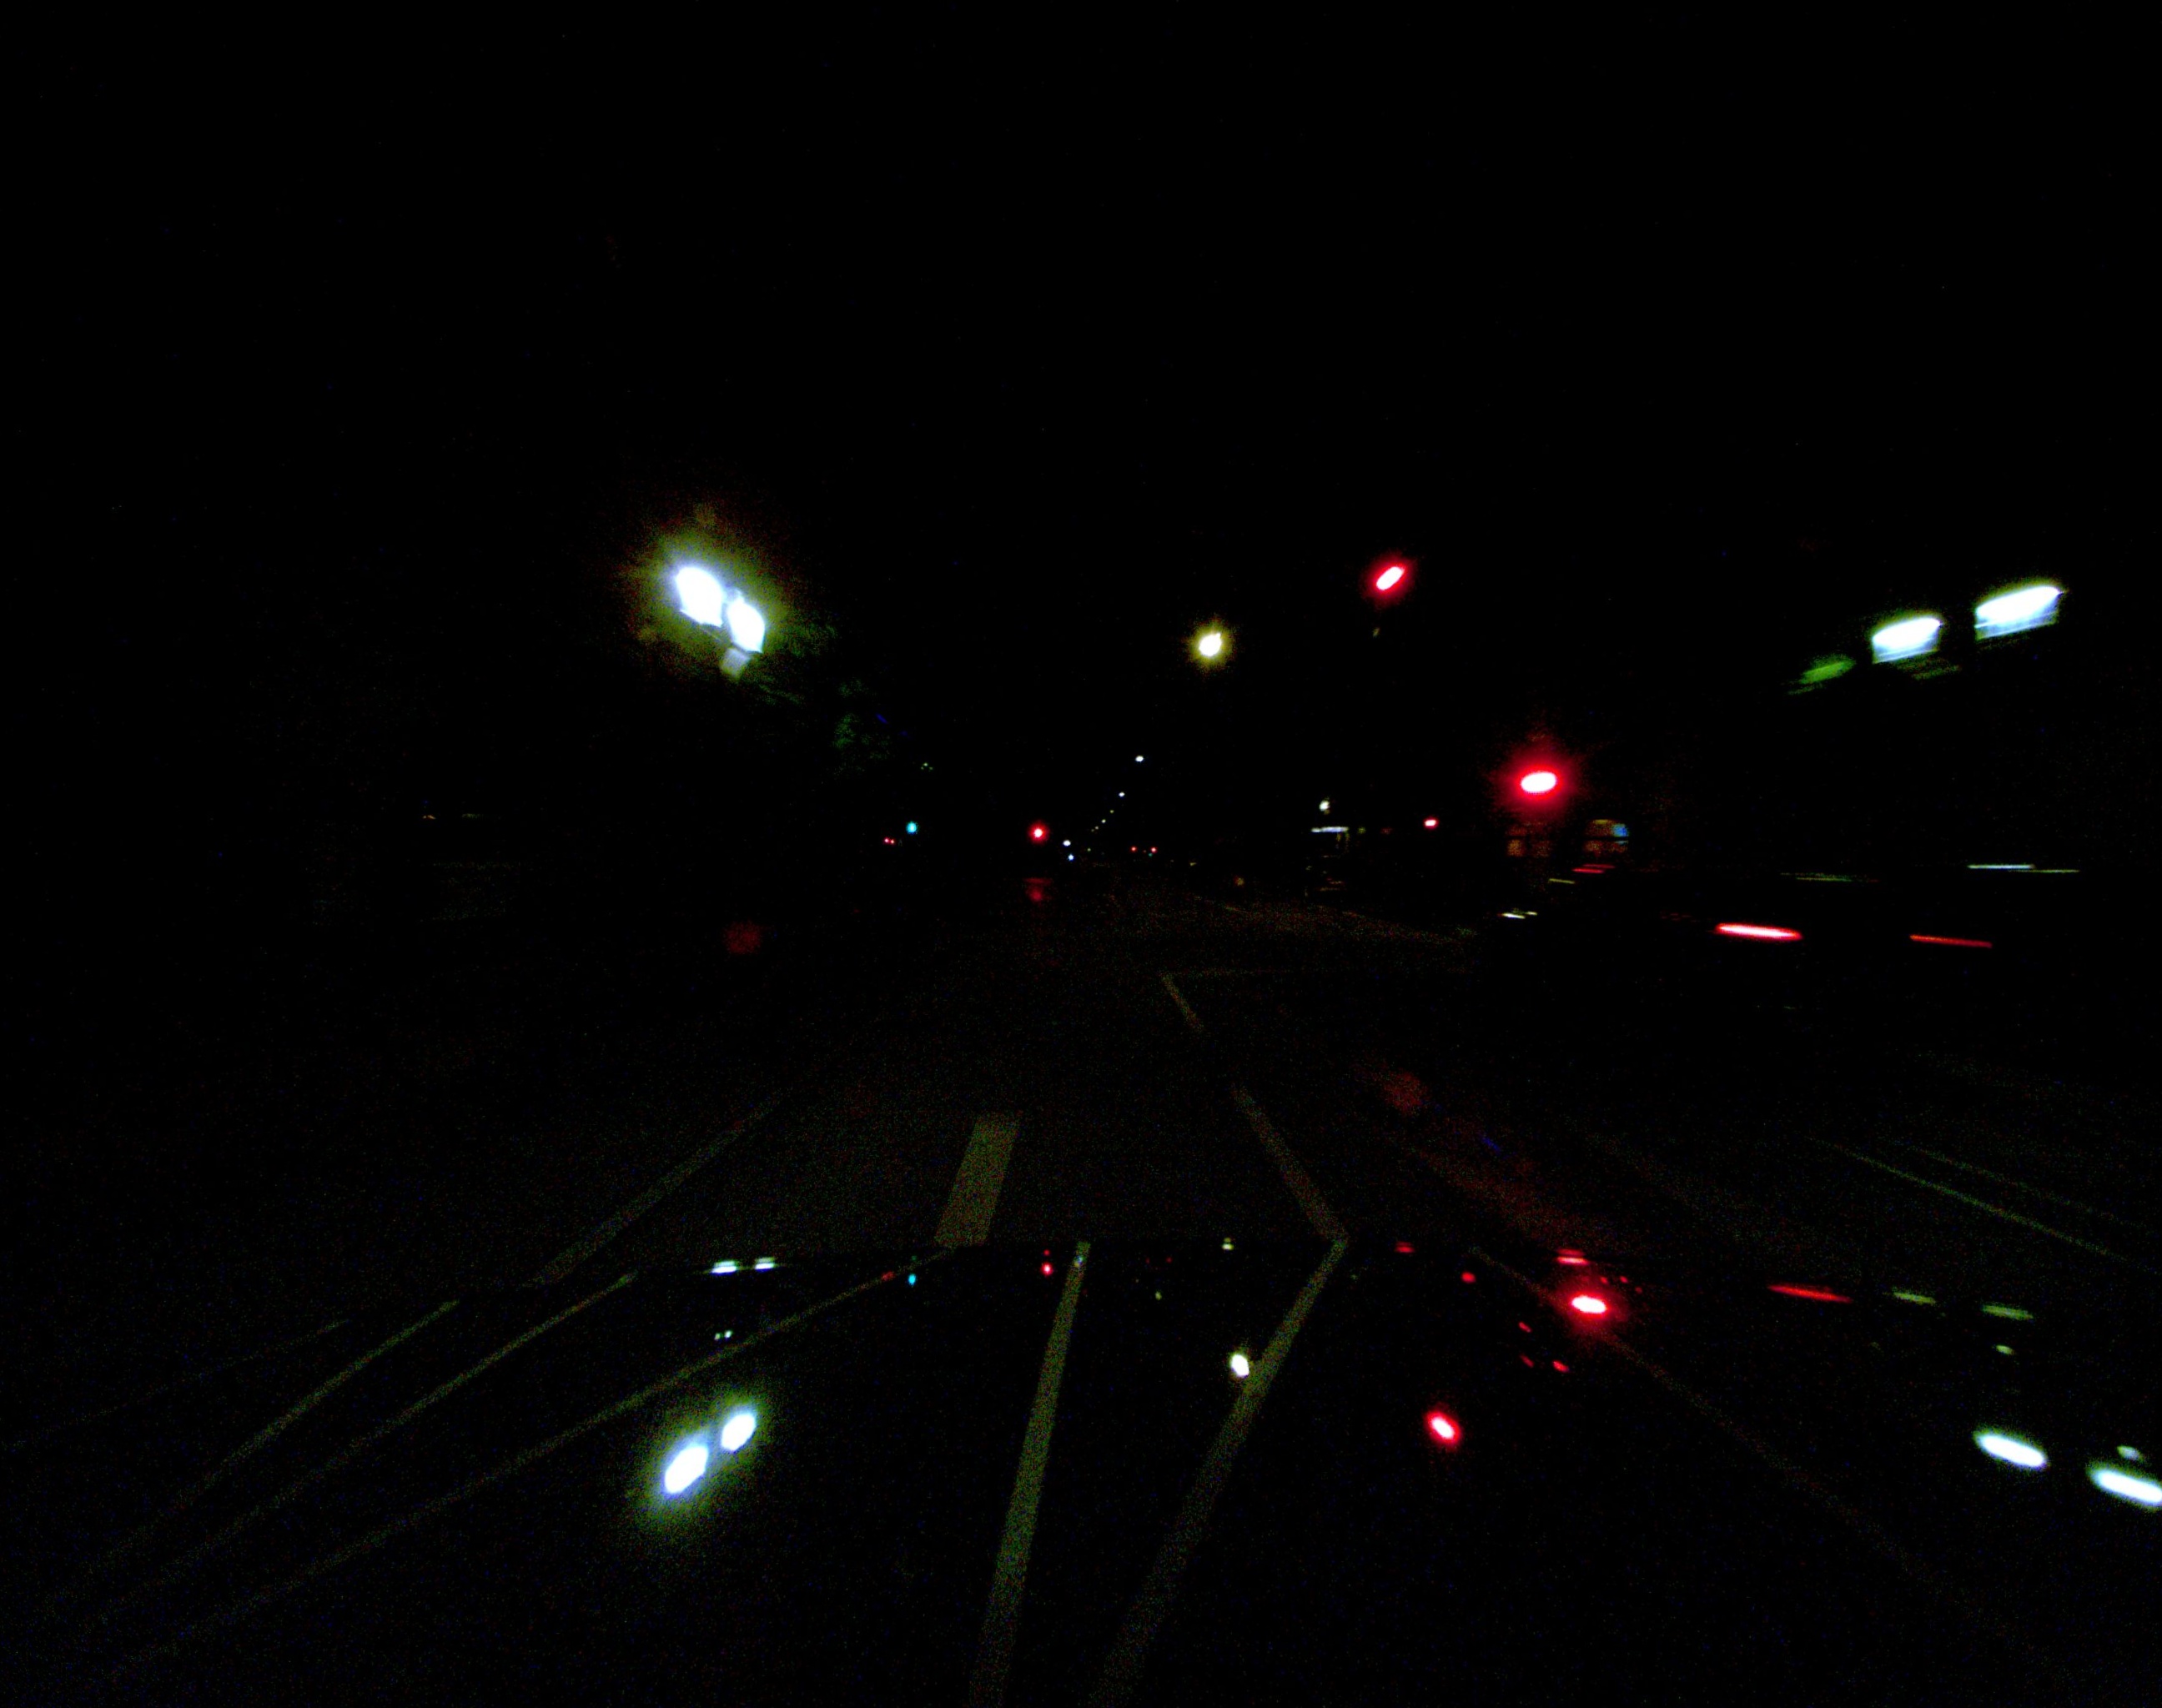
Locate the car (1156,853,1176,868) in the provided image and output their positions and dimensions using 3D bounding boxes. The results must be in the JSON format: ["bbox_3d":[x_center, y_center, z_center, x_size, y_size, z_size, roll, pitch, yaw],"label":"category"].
[{"bbox_3d":[8.477,0.666,75.753,1.555,1.425,4.348,-1,0,1],"label":"car"}]

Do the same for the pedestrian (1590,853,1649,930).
[{"bbox_3d":[12.188,0.831,17.222,0.710,1.680,0.998,2,0,11],"label":"pedestrian"}]

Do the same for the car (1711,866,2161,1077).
[{"bbox_3d":[8.481,0.920,7.538,1.596,1.482,3.700,-2,0,5],"label":"car"}]

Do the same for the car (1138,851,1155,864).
[{"bbox_3d":[8.364,0.432,97.284,1.633,1.455,3.513,2,0,-4],"label":"car"}]

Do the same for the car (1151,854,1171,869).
[{"bbox_3d":[8.476,0.785,80.478,1.642,1.425,4.349,-1,0,1],"label":"car"}]

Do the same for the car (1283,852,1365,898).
[{"bbox_3d":[9.011,0.738,28.491,1.890,1.587,4.024,-1,0,2],"label":"car"}]

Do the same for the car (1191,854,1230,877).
[{"bbox_3d":[8.383,0.696,49.482,1.865,1.425,4.443,0,0,1],"label":"car"}]

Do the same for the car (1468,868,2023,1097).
[{"bbox_3d":[5.526,0.909,7.160,1.719,1.421,4.000,2,0,1],"label":"car"}]

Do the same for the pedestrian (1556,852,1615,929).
[{"bbox_3d":[11.489,0.815,17.335,0.710,1.680,1.125,2,0,11],"label":"pedestrian"}]

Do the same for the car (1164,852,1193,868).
[{"bbox_3d":[8.629,0.500,67.661,1.866,1.425,4.402,0,0,-2],"label":"car"}]

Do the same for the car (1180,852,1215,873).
[{"bbox_3d":[8.313,0.586,54.414,1.865,1.470,4.472,0,0,1],"label":"car"}]
